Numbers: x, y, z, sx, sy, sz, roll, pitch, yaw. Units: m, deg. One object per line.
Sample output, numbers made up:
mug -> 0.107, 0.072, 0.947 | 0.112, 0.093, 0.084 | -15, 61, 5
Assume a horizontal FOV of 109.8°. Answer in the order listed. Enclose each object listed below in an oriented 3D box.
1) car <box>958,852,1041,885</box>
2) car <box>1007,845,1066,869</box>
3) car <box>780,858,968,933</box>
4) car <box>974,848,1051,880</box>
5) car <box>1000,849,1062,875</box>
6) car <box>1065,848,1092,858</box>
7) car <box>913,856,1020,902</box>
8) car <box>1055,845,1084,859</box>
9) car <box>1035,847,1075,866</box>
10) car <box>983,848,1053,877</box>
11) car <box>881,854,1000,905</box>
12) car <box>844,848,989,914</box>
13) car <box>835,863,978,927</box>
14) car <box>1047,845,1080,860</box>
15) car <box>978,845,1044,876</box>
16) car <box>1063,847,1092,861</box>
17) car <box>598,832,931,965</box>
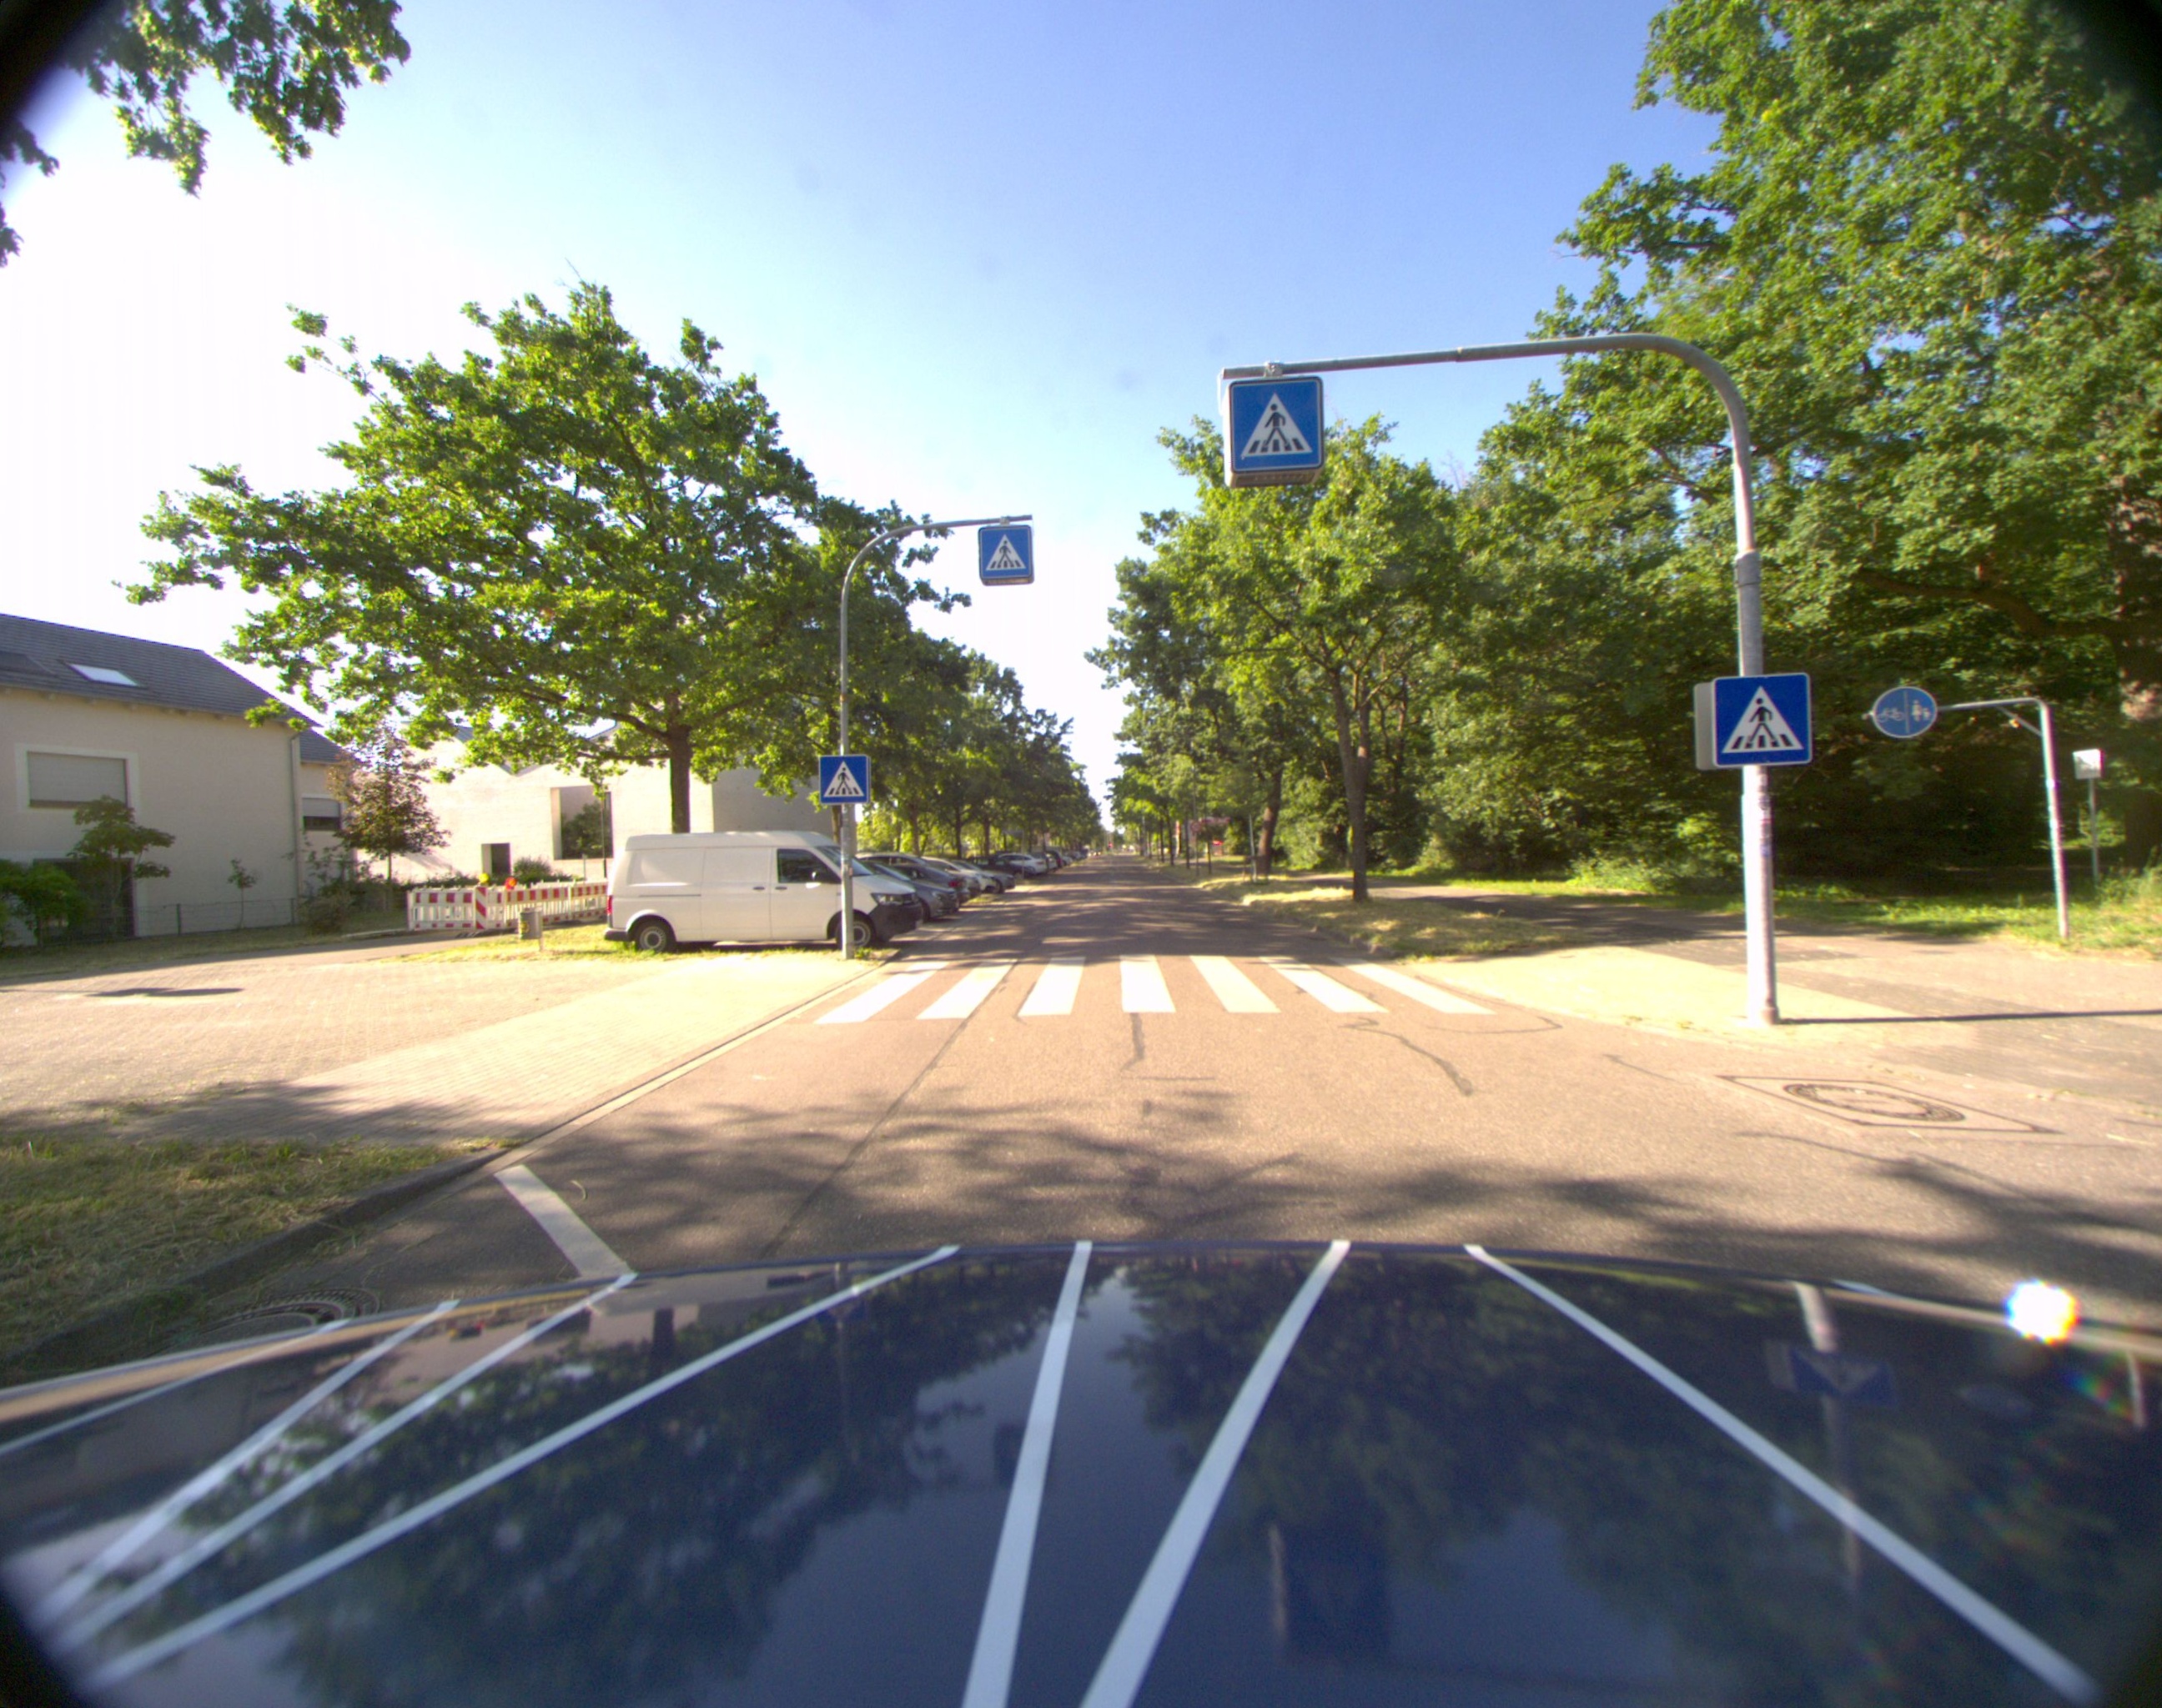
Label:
car -> -4.609, 0.826, 43.350 | 4.394, 1.632, 1.533 | -3, 1, 4
car -> -3.477, 0.229, 59.984 | 4.394, 1.733, 1.533 | -3, 1, 4
car -> -4.962, 0.968, 18.556 | 3.996, 1.554, 1.758 | -3, 1, 4
car -> -4.139, 0.603, 46.364 | 4.394, 1.733, 1.533 | -3, 1, 4
car -> -3.768, 0.577, 57.627 | 4.394, 1.733, 1.533 | -3, 1, 4
car -> -0.412, -0.102, 122.533 | 4.151, 1.401, 1.800 | -3, 1, 3
car -> -4.649, 1.015, 31.233 | 4.018, 1.650, 1.533 | -3, 1, 4
car -> -1.753, -0.330, 117.546 | 4.151, 1.838, 1.949 | -3, 1, 3
car -> -2.713, 0.245, 80.264 | 3.996, 1.838, 1.863 | -3, 1, 3
car -> -4.181, 0.565, 50.543 | 4.394, 1.733, 1.533 | -3, 1, 4
car -> -5.178, 0.923, 28.253 | 4.018, 1.669, 1.533 | -3, 1, 4
car -> -5.057, 0.815, 23.649 | 4.018, 1.783, 1.713 | -3, 1, 4
car -> -4.781, 1.111, 21.091 | 3.515, 1.533, 1.448 | -3, 1, 4
car -> -2.352, -0.200, 101.216 | 4.151, 1.838, 1.949 | -3, 1, 3
car -> -4.911, 0.431, 53.815 | 4.394, 1.977, 1.533 | -3, 1, 4
car -> -0.490, -0.014, 112.446 | 4.151, 1.838, 1.949 | -3, 1, 3
car -> -5.406, 0.730, 13.455 | 5.045, 2.069, 1.891 | -1, 1, 2
